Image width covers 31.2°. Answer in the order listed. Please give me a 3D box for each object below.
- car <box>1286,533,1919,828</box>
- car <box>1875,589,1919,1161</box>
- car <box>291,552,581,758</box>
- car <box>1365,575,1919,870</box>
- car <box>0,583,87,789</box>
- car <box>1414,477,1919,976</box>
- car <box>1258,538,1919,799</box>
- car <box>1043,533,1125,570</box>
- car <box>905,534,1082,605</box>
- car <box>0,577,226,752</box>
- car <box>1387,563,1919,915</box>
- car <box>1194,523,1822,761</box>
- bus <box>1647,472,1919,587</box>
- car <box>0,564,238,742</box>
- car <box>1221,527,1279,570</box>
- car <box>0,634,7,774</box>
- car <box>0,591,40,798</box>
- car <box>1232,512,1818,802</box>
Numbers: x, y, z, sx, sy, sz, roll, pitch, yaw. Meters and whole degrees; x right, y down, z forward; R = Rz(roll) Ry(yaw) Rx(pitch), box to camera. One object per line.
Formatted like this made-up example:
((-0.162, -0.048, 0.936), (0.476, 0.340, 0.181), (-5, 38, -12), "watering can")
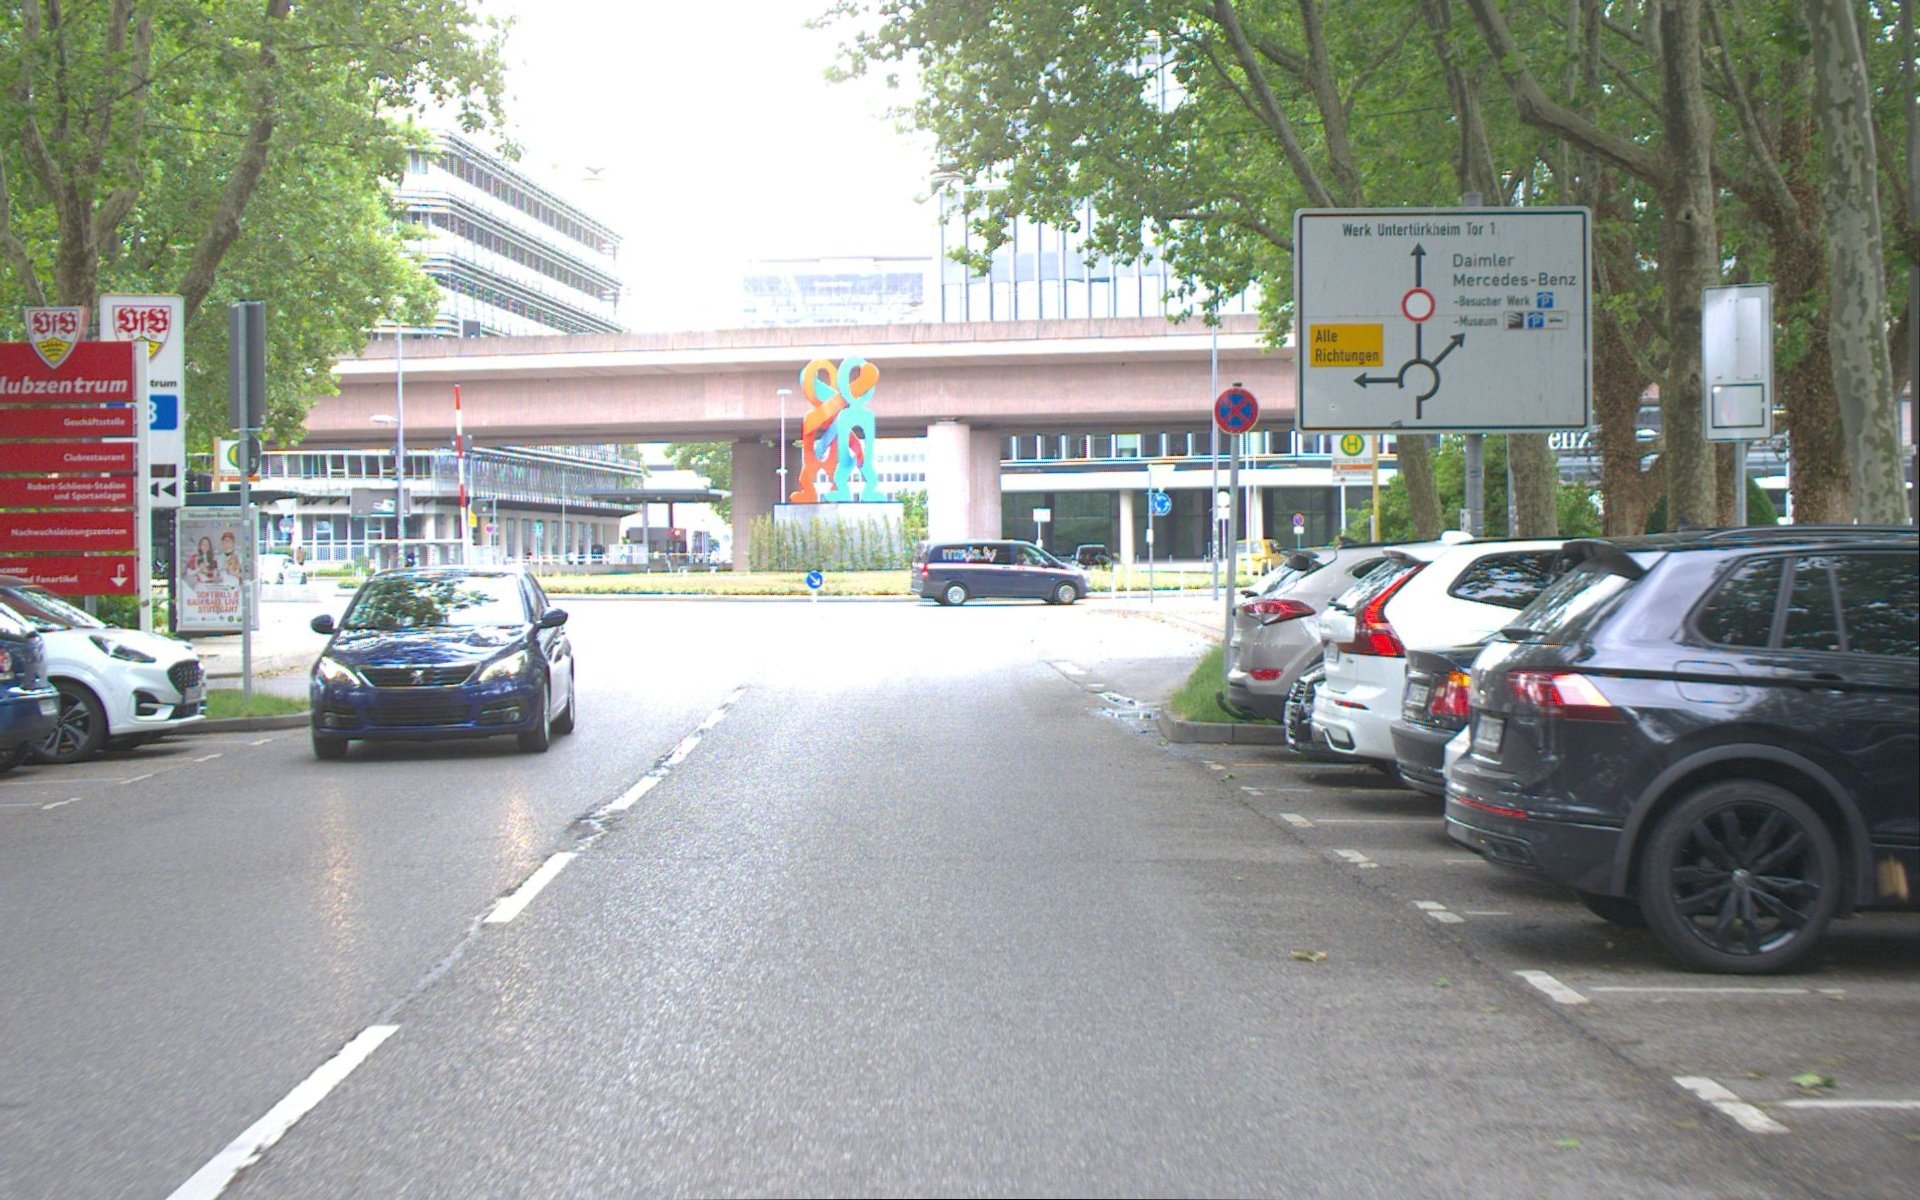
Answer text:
((4.251, 0.455, 20.742), (4.346, 1.628, 1.926), (1, 1, 0), "car")
((4.258, 0.733, 8.200), (3.639, 1.422, 1.666), (1, 1, -4), "car")
((-4.075, 0.389, 27.302), (1.842, 1.504, 4.015), (0, 0, -2), "car")
((4.149, 0.627, 18.164), (3.730, 1.398, 1.776), (2, 1, -2), "car")
((-8.803, 0.609, 25.892), (3.993, 1.488, 1.832), (0, 0, -1), "car")
((4.101, 0.471, 13.303), (4.346, 1.755, 1.926), (1, 1, -2), "car")
((4.278, 0.428, 23.108), (4.346, 1.599, 1.926), (1, 1, 0), "car")
((6.012, -2.340, 165.823), (1.998, 1.766, 3.991), (1, 0, 38), "car")
((0.931, -0.873, 98.710), (4.766, 2.007, 2.284), (0, 0, -9), "car")
((-8.294, 0.499, 28.430), (3.994, 1.380, 1.911), (0, 0, 3), "car")
((4.291, 0.608, 15.739), (4.346, 1.451, 1.950), (1, 1, -2), "car")
((4.012, 0.281, 25.724), (4.346, 1.628, 1.926), (1, 1, 0), "car")
((29.845, -2.432, 121.473), (11.045, 3.921, 2.759), (0, 0, -20), "bus")
((-8.669, 0.446, 30.838), (3.994, 1.535, 1.805), (0, 0, 1), "car")
((13.849, -2.439, 164.030), (1.995, 2.007, 3.997), (0, 0, 17), "car")
((-8.166, 0.440, 20.758), (4.263, 1.543, 1.908), (-3, 1, -3), "car")
((-8.526, 0.634, 23.498), (3.987, 1.400, 1.862), (0, 0, -1), "car")
((4.123, 0.382, 25.616), (3.987, 2.007, 2.000), (1, 1, 0), "car")
